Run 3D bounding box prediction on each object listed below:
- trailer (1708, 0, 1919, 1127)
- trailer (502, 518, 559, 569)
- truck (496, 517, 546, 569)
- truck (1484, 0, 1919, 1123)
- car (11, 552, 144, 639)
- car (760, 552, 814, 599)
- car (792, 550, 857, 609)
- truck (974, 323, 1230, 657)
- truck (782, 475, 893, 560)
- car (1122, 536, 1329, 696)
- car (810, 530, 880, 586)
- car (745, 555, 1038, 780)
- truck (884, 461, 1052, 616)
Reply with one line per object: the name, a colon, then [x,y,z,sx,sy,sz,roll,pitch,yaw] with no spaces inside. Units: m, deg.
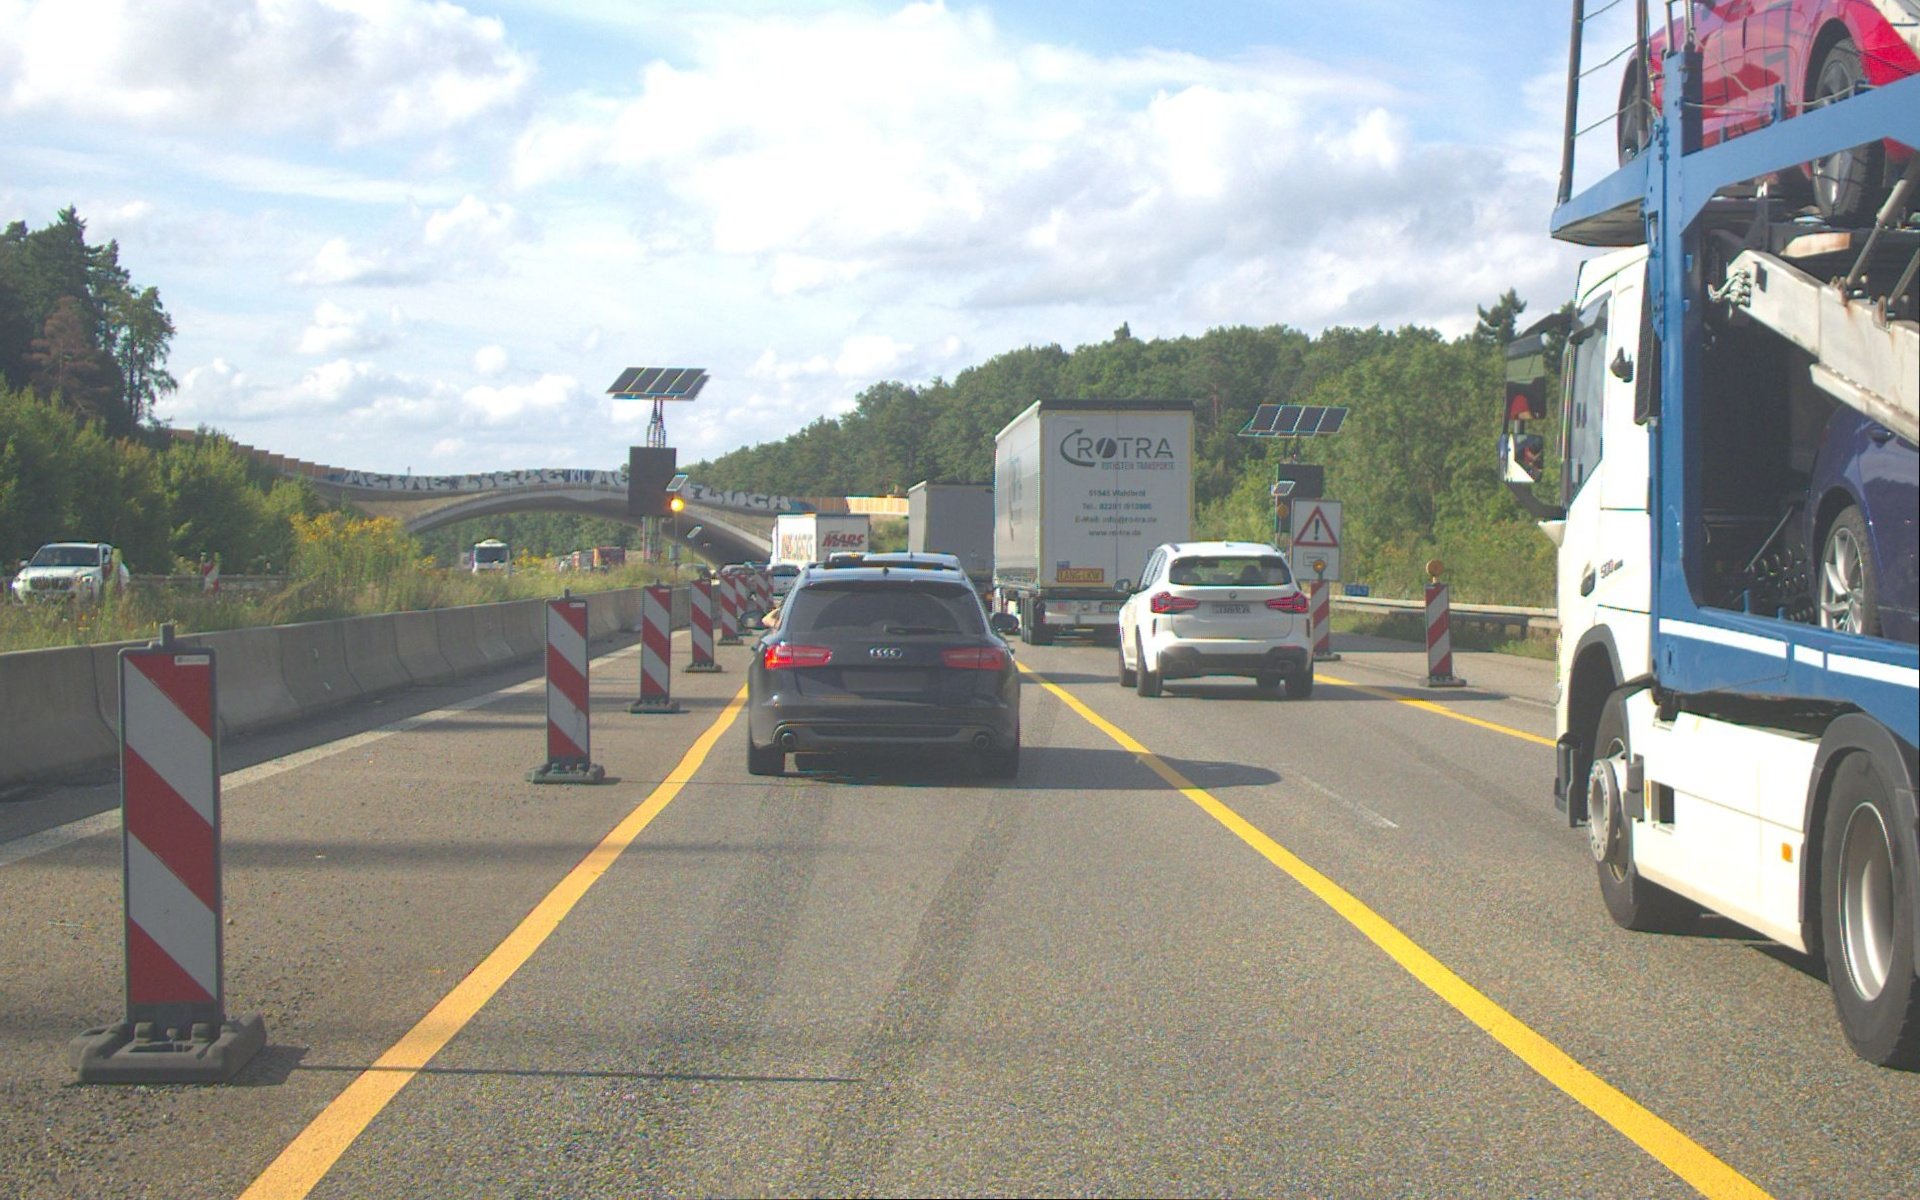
trailer: [4.517,-0.643,3.170,3.726,4.182,16.228,1,0,-1]
trailer: [-30.266,-3.961,242.414,2.802,3.478,11.113,1,0,-1]
truck: [-30.142,-3.902,236.298,2.785,3.478,4.939,1,0,-1]
truck: [4.336,-0.729,11.335,3.761,4.182,7.951,1,0,-1]
car: [-19.032,-0.112,74.320,1.778,1.780,4.365,1,0,-1]
car: [-7.650,-1.074,151.678,1.993,2.007,4.001,1,0,-8]
car: [-4.785,-0.728,121.042,1.993,2.007,4.001,1,0,-6]
truck: [2.318,-1.836,63.509,3.677,5.335,16.202,1,0,-1]
truck: [-6.047,-3.946,167.382,3.653,3.915,11.070,1,0,-11]
car: [2.863,0.155,37.855,1.890,1.638,4.018,1,0,-1]
car: [-3.495,-1.254,103.855,1.890,1.638,4.018,1,0,-4]
car: [-0.474,0.423,24.390,1.890,1.441,4.000,1,0,-1]
truck: [0.124,-1.903,109.112,4.318,4.584,11.126,1,0,-5]
